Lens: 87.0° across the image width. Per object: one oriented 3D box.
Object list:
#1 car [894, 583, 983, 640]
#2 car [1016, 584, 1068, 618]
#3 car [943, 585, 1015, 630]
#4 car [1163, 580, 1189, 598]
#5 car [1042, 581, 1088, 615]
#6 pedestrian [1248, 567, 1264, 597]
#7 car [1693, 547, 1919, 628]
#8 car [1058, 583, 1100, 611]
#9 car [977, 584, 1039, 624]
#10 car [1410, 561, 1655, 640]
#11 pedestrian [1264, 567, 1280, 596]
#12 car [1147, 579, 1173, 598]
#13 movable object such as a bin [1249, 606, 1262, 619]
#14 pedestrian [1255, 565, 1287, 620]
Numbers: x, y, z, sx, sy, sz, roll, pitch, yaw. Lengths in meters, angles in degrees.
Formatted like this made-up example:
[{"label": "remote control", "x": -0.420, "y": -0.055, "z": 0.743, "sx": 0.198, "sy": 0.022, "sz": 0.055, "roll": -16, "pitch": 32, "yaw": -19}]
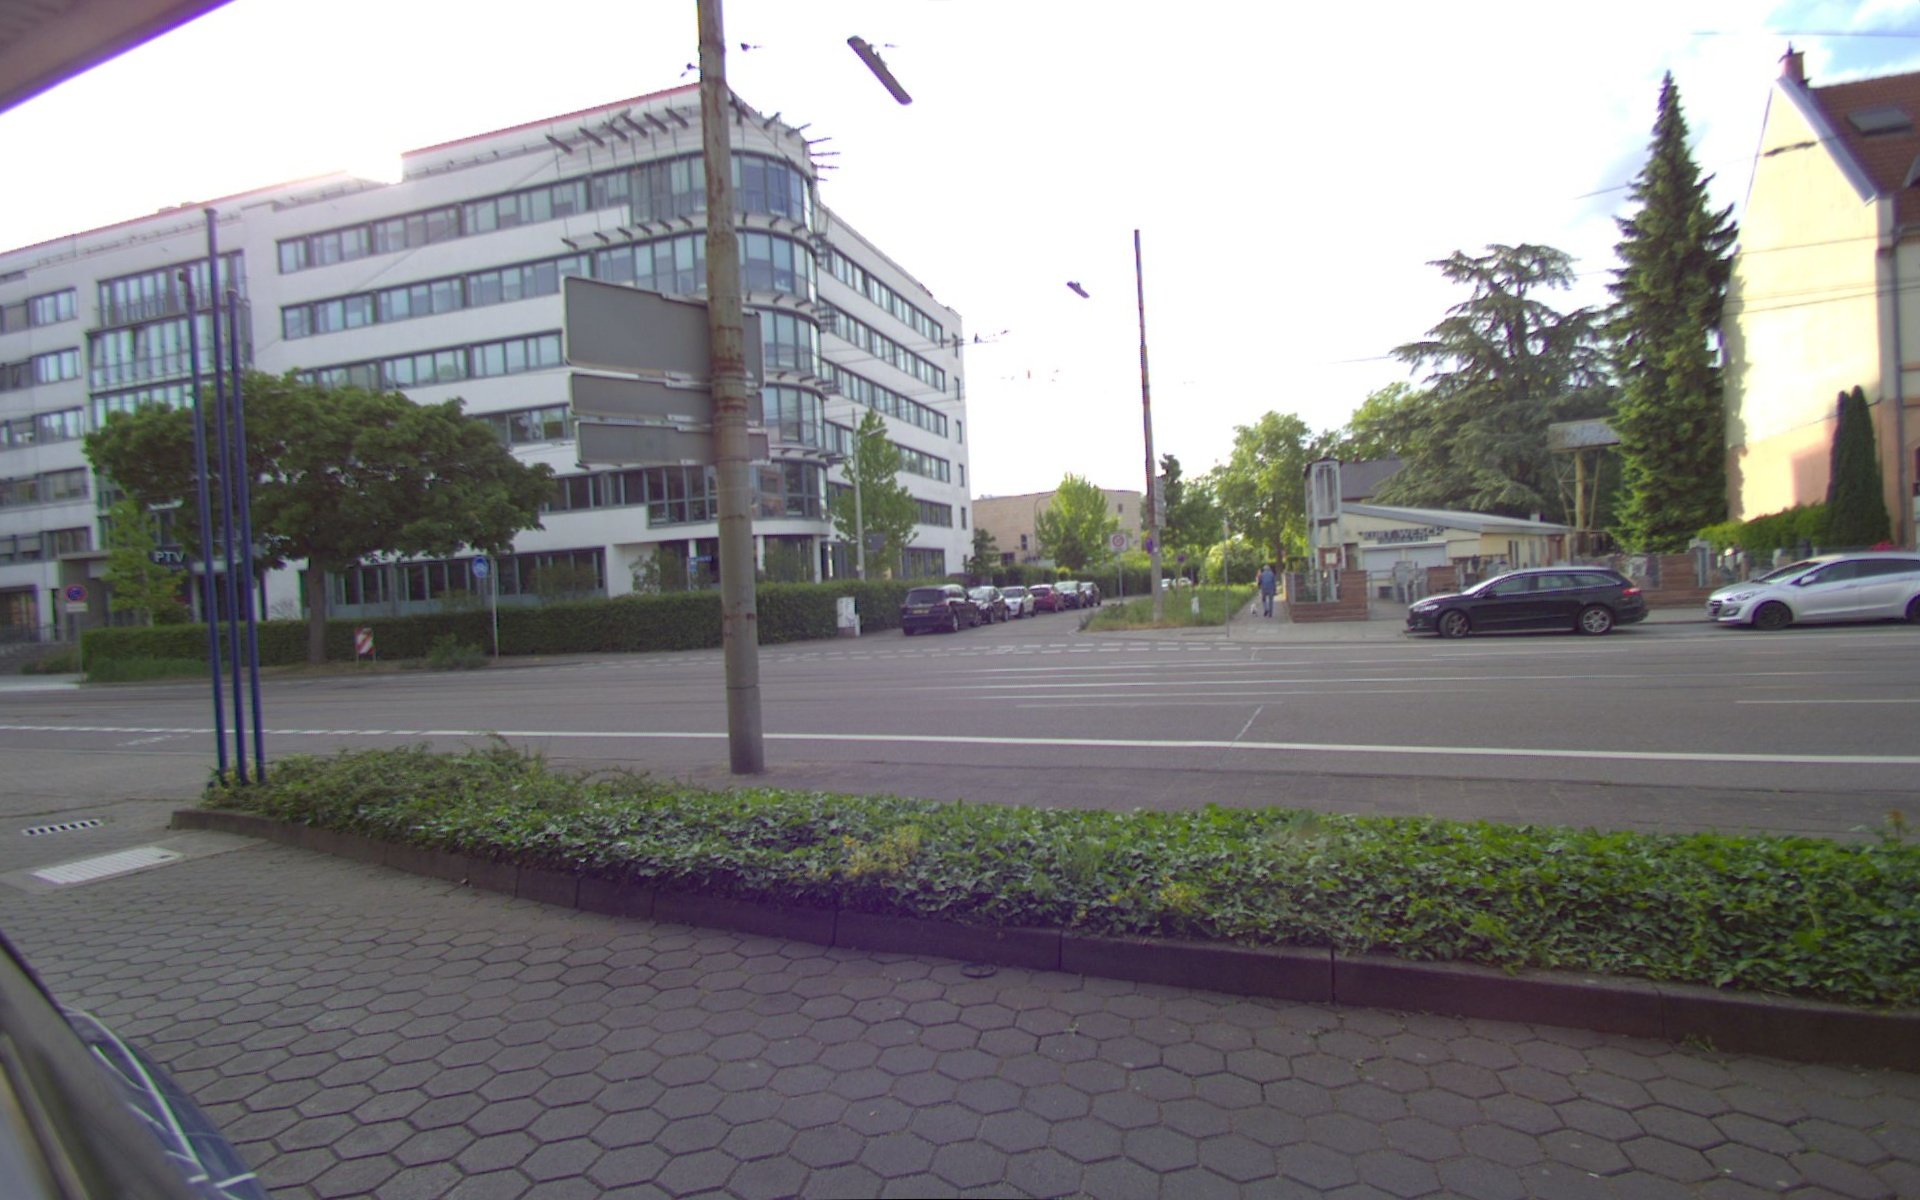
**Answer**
[{"label": "car", "x": -0.679, "y": 0.356, "z": 35.566, "sx": 1.807, "sy": 1.701, "sz": 4.370, "roll": -4, "pitch": 1, "yaw": 16}, {"label": "car", "x": 4.307, "y": 0.019, "z": 52.407, "sx": 1.807, "sy": 1.589, "sz": 4.175, "roll": -4, "pitch": 0, "yaw": 16}, {"label": "car", "x": 0.838, "y": 0.268, "z": 40.981, "sx": 1.807, "sy": 1.589, "sz": 4.175, "roll": -4, "pitch": 0, "yaw": 16}, {"label": "car", "x": 22.842, "y": -1.164, "z": 106.854, "sx": 1.813, "sy": 1.654, "sz": 4.040, "roll": -4, "pitch": 0, "yaw": 25}, {"label": "car", "x": 6.038, "y": -0.140, "z": 57.805, "sx": 1.807, "sy": 1.704, "sz": 4.392, "roll": -4, "pitch": 0, "yaw": 16}, {"label": "pedestrian", "x": 19.529, "y": -1.188, "z": 66.852, "sx": 0.965, "sy": 1.896, "sz": 1.056, "roll": -1, "pitch": 0, "yaw": 18}, {"label": "car", "x": 18.414, "y": -0.271, "z": 21.397, "sx": 4.349, "sy": 1.493, "sz": 1.732, "roll": -3, "pitch": 1, "yaw": 22}, {"label": "car", "x": 7.393, "y": -0.217, "z": 62.571, "sx": 1.807, "sy": 1.585, "sz": 4.052, "roll": -4, "pitch": 0, "yaw": 16}, {"label": "car", "x": 2.231, "y": 0.149, "z": 45.686, "sx": 1.807, "sy": 1.589, "sz": 4.175, "roll": -4, "pitch": 0, "yaw": 16}, {"label": "car", "x": 13.021, "y": 0.005, "z": 23.367, "sx": 4.632, "sy": 1.533, "sz": 1.842, "roll": -3, "pitch": 2, "yaw": 22}, {"label": "pedestrian", "x": 20.485, "y": -1.201, "z": 66.546, "sx": 0.965, "sy": 1.896, "sz": 1.056, "roll": -1, "pitch": 0, "yaw": 18}, {"label": "car", "x": 19.965, "y": -1.143, "z": 100.907, "sx": 1.811, "sy": 1.654, "sz": 4.044, "roll": -4, "pitch": 0, "yaw": 22}, {"label": "movable object such as a bin", "x": 10.093, "y": 0.424, "z": 34.586, "sx": 0.363, "sy": 0.397, "sz": 0.660, "roll": -2, "pitch": 2, "yaw": 14}, {"label": "pedestrian", "x": 10.117, "y": -0.244, "z": 32.950, "sx": 0.902, "sy": 1.712, "sz": 0.920, "roll": -3, "pitch": 2, "yaw": 17}]
